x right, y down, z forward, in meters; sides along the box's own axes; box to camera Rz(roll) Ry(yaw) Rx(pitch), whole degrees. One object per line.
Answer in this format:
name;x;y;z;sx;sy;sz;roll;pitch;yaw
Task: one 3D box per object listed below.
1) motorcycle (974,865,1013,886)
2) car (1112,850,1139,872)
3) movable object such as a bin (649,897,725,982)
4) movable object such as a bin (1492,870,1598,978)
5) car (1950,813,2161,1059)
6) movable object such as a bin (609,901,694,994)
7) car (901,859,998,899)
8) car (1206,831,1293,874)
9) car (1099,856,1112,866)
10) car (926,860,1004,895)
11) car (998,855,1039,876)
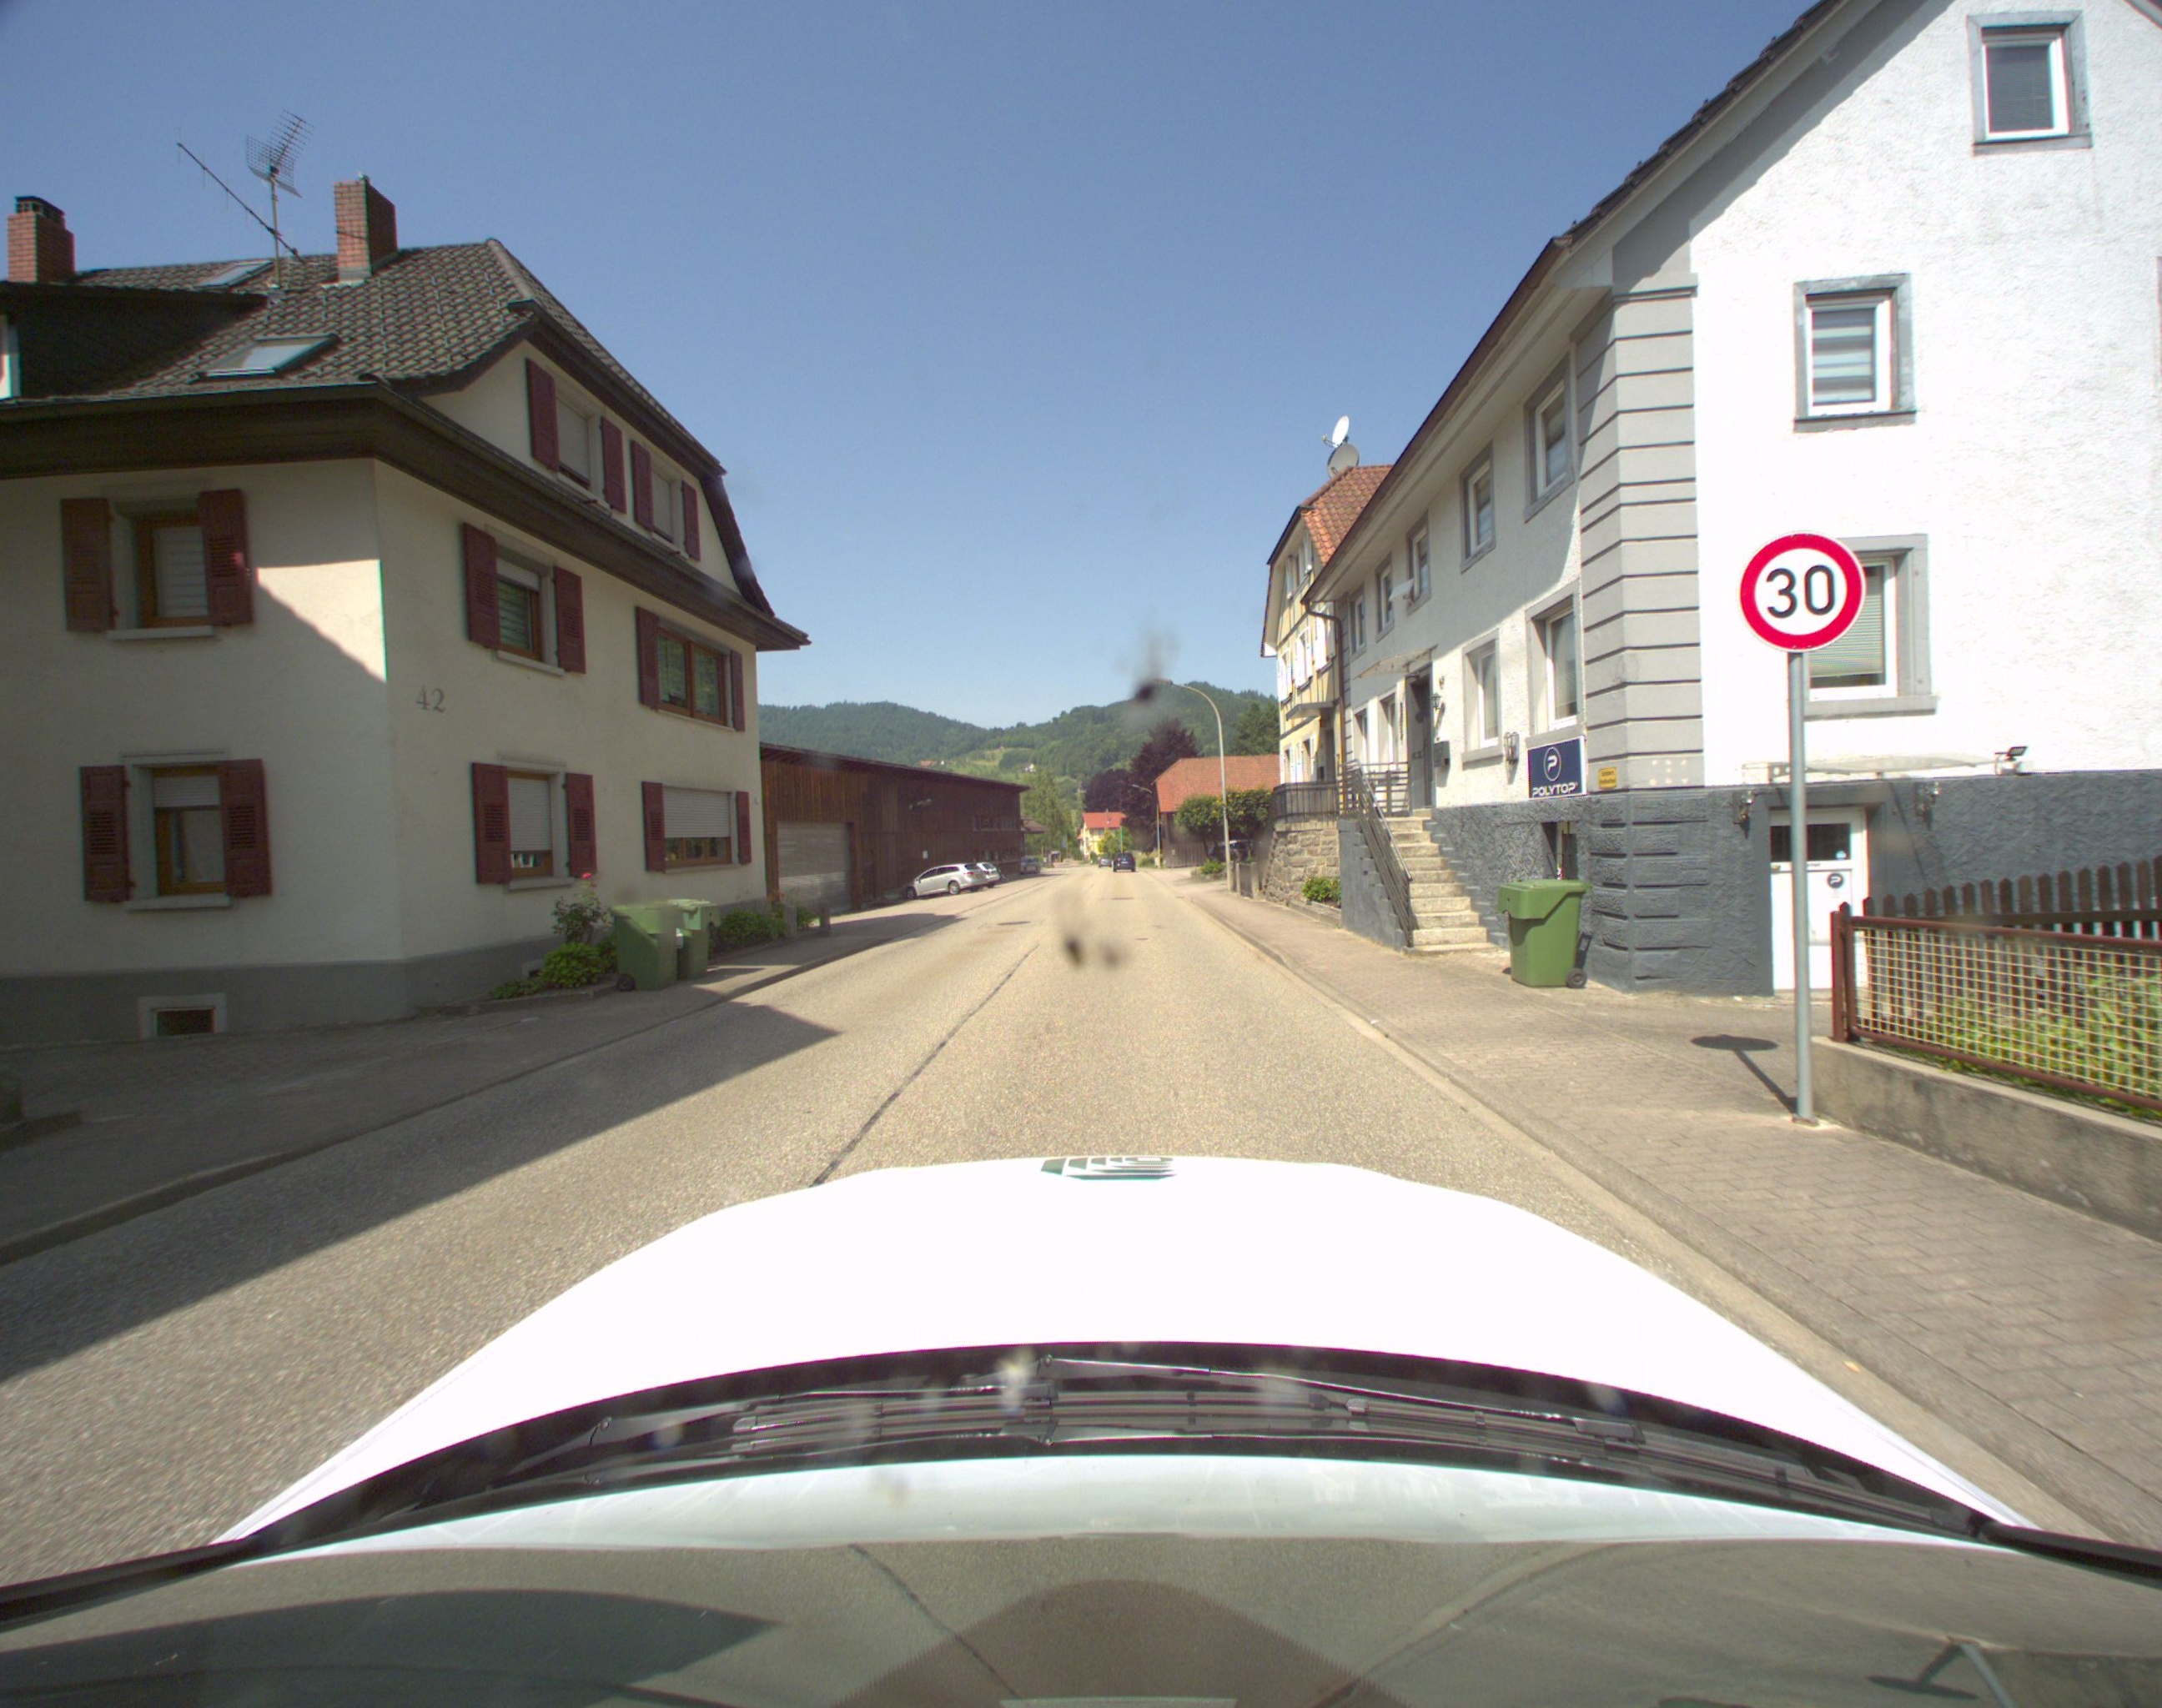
motorcycle;-5.829;1.434;54.077;2.392;1.264;0.746;-3;0;12
car;3.695;0.553;68.310;1.914;1.698;3.787;-3;0;-1
movable object such as a bin;-5.342;1.147;11.084;0.673;1.067;0.621;-3;0;1
movable object such as a bin;4.731;0.698;8.348;0.701;1.020;0.618;-3;0;3
car;9.012;0.538;5.625;3.940;1.590;1.803;0;0;5
movable object such as a bin;-5.442;1.172;10.349;0.673;1.067;0.653;-3;0;1
car;-6.604;1.256;40.756;4.387;1.474;1.936;-7;-1;28
car;8.908;-0.077;43.381;4.200;1.687;1.780;-8;-1;5
car;3.333;0.910;111.099;1.473;1.209;2.382;-4;0;-2
car;-6.205;1.236;43.568;3.630;1.385;1.719;-7;-1;17
car;-5.092;0.910;67.173;1.715;1.454;4.826;-2;1;16
